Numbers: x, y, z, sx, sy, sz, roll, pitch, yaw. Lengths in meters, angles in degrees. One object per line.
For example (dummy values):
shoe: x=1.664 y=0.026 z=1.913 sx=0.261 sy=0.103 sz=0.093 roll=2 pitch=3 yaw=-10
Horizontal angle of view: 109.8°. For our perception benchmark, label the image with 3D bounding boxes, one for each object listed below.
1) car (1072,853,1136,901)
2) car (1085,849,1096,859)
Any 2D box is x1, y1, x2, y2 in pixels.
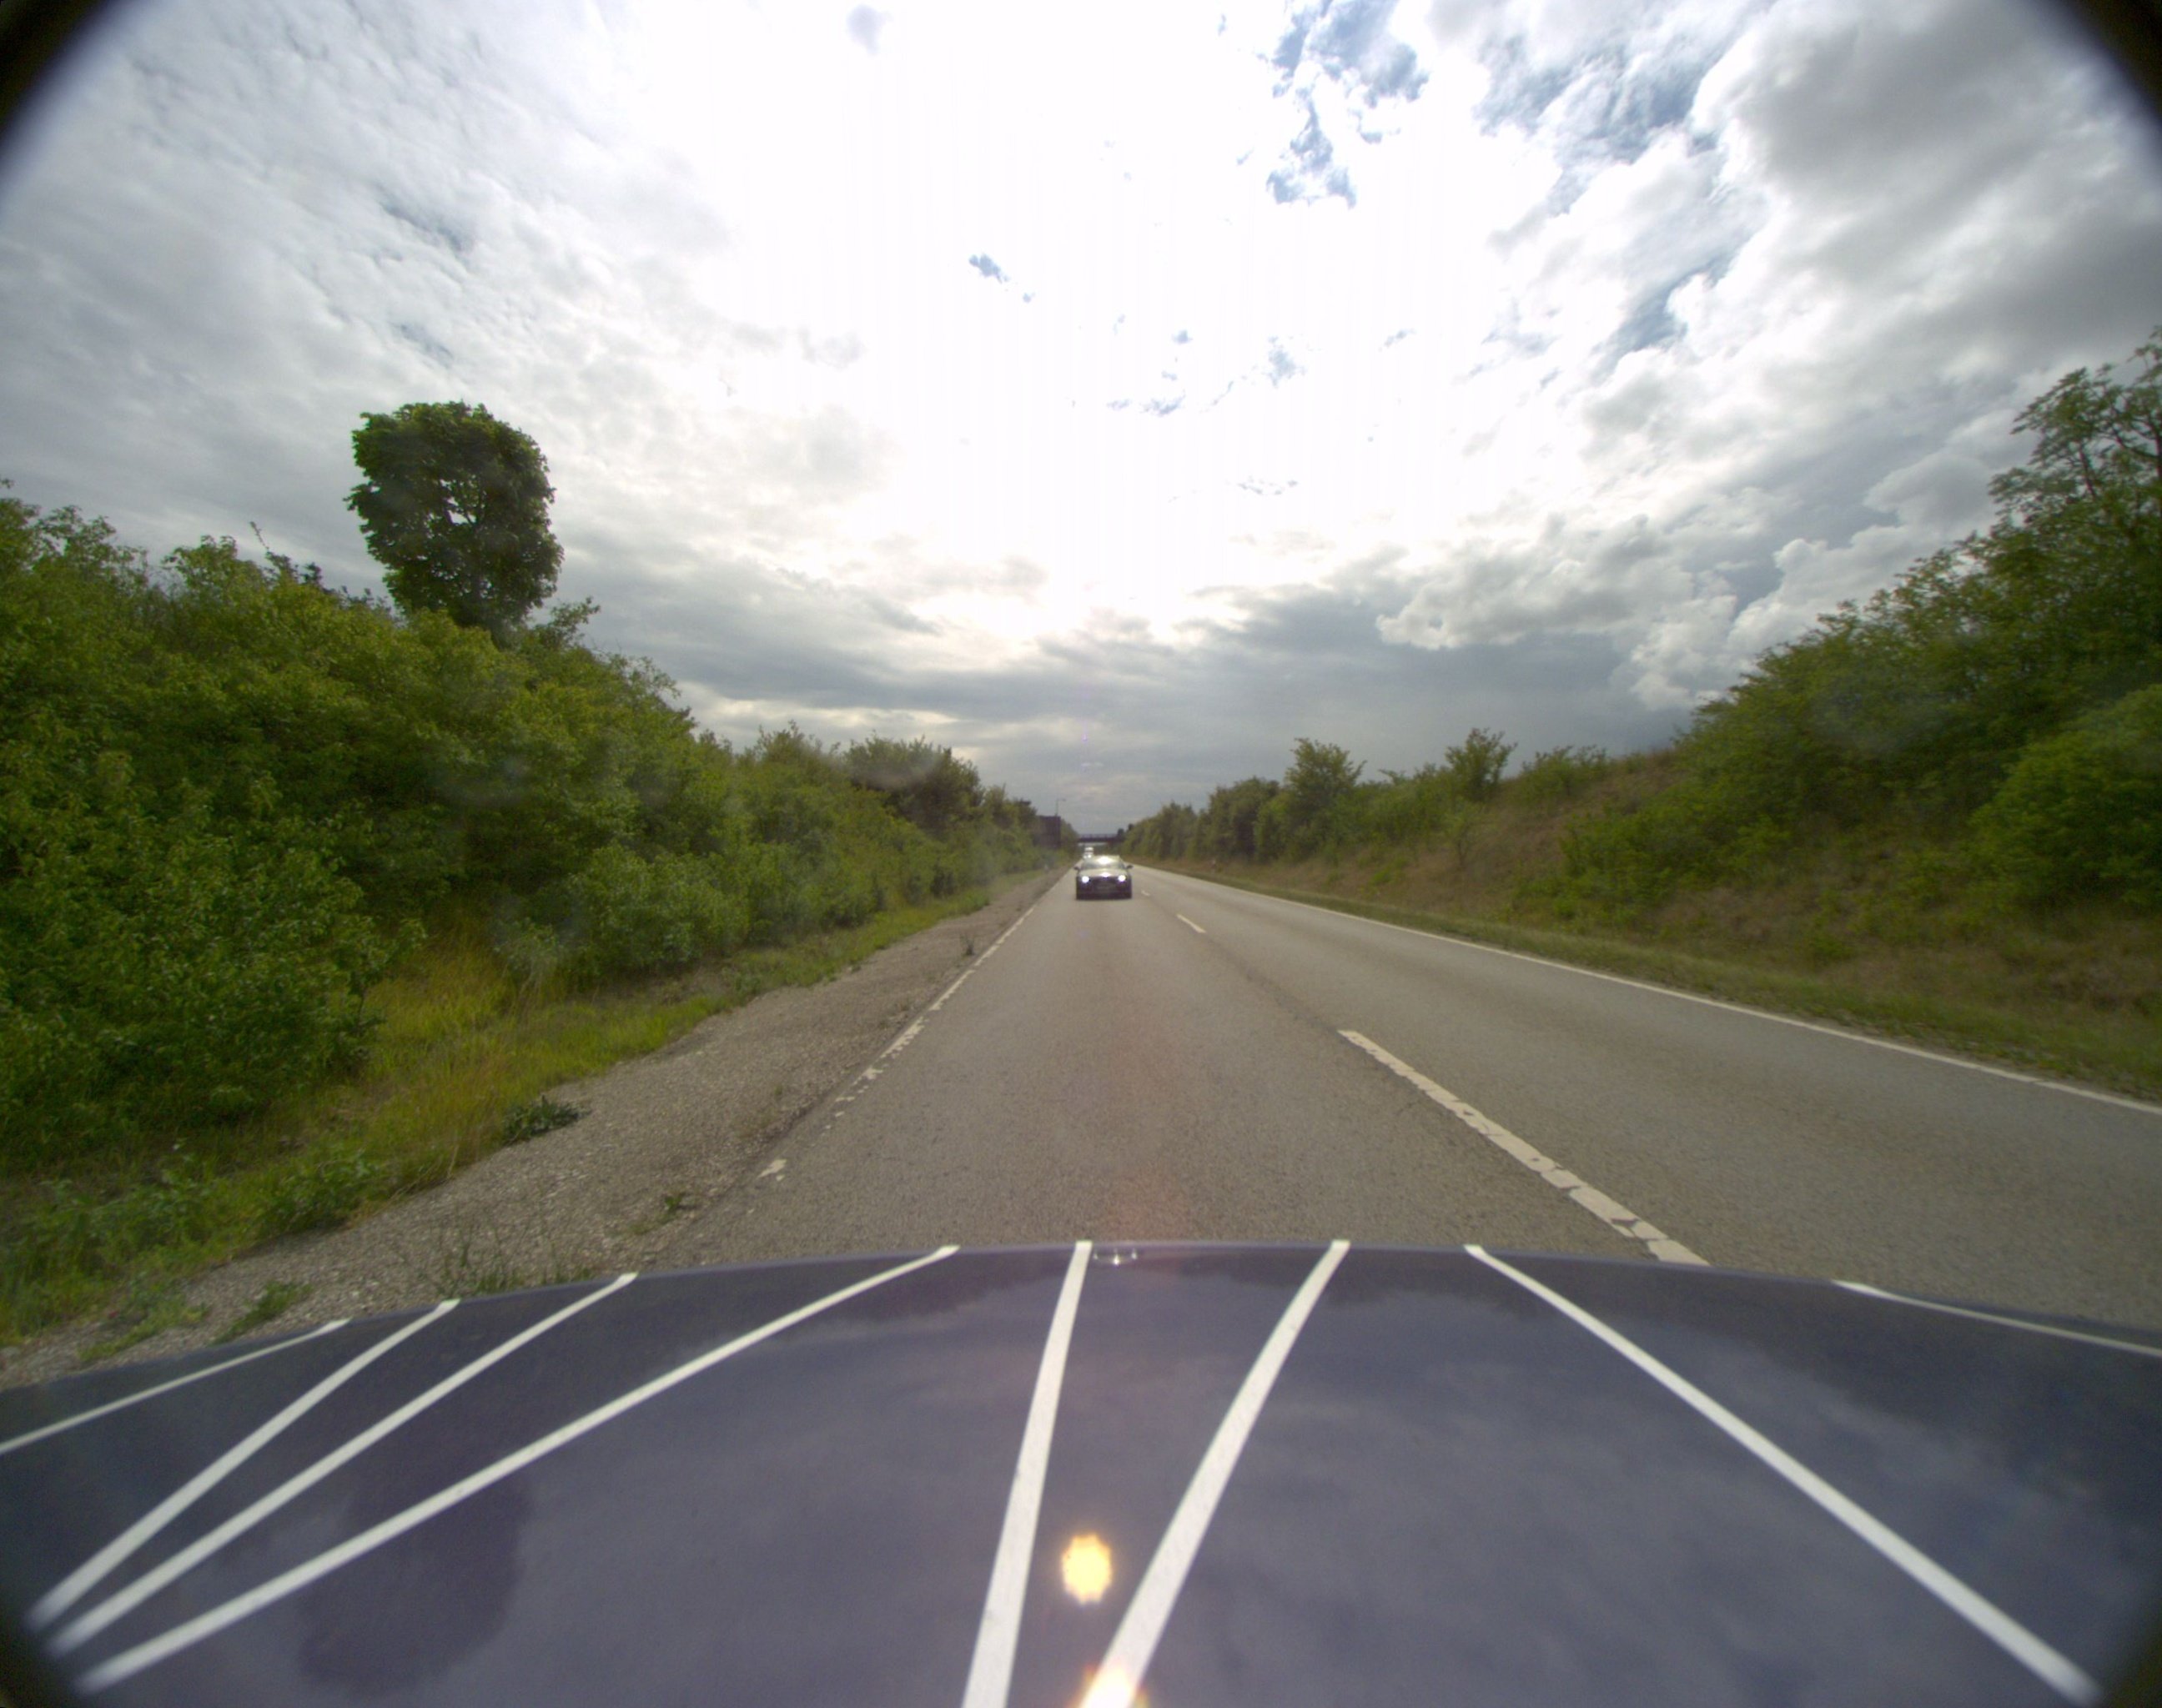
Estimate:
car: x=0.765 y=0.726 z=26.748 sx=1.998 sy=1.436 sz=4.640 roll=-2 pitch=1 yaw=0
car: x=1.565 y=-0.085 z=126.064 sx=1.870 sy=1.597 sz=3.999 roll=-1 pitch=1 yaw=0
